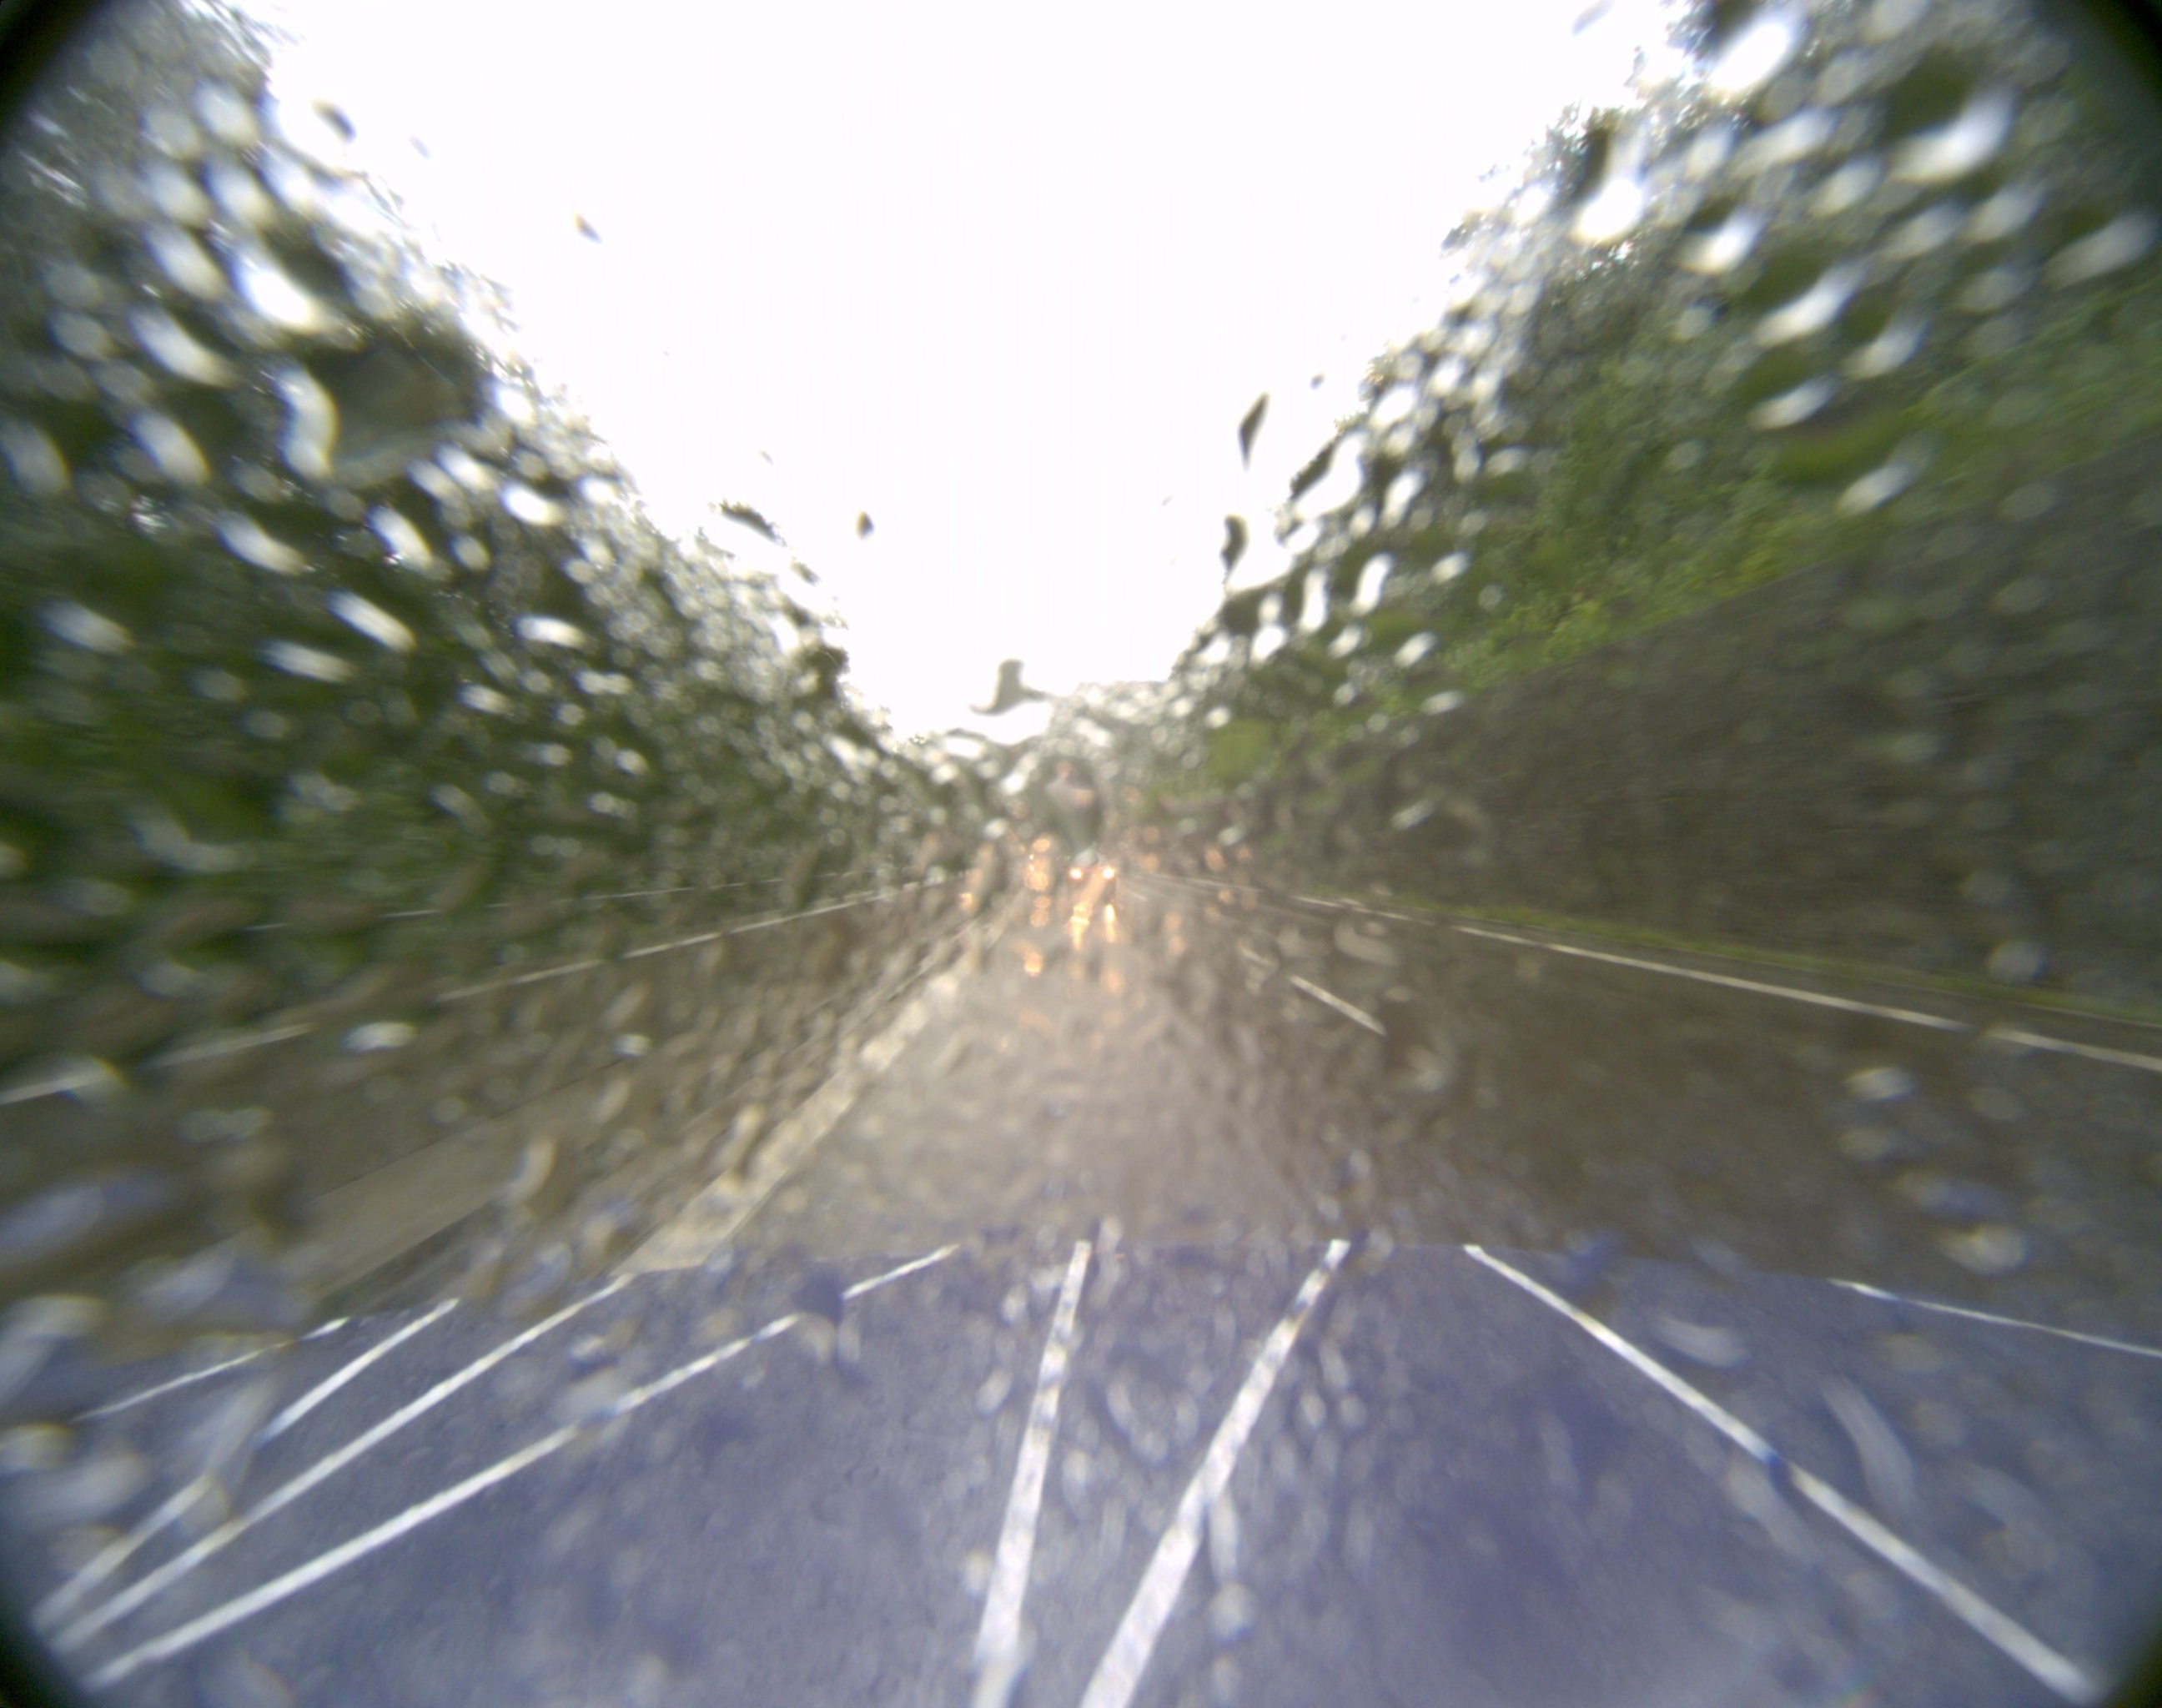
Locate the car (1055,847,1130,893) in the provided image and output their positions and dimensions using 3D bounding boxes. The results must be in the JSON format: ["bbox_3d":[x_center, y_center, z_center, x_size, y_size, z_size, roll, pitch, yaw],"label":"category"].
[{"bbox_3d":[0.322,0.523,28.922,2.360,1.549,5.496,-1,0,-4],"label":"car"}]

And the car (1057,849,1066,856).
[{"bbox_3d":[-4.417,-0.368,173.657,1.773,1.465,4.001,-2,1,4],"label":"car"}]

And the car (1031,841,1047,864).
[{"bbox_3d":[-5.637,-0.236,101.277,1.743,3.008,3.997,2,1,-6],"label":"car"}]
